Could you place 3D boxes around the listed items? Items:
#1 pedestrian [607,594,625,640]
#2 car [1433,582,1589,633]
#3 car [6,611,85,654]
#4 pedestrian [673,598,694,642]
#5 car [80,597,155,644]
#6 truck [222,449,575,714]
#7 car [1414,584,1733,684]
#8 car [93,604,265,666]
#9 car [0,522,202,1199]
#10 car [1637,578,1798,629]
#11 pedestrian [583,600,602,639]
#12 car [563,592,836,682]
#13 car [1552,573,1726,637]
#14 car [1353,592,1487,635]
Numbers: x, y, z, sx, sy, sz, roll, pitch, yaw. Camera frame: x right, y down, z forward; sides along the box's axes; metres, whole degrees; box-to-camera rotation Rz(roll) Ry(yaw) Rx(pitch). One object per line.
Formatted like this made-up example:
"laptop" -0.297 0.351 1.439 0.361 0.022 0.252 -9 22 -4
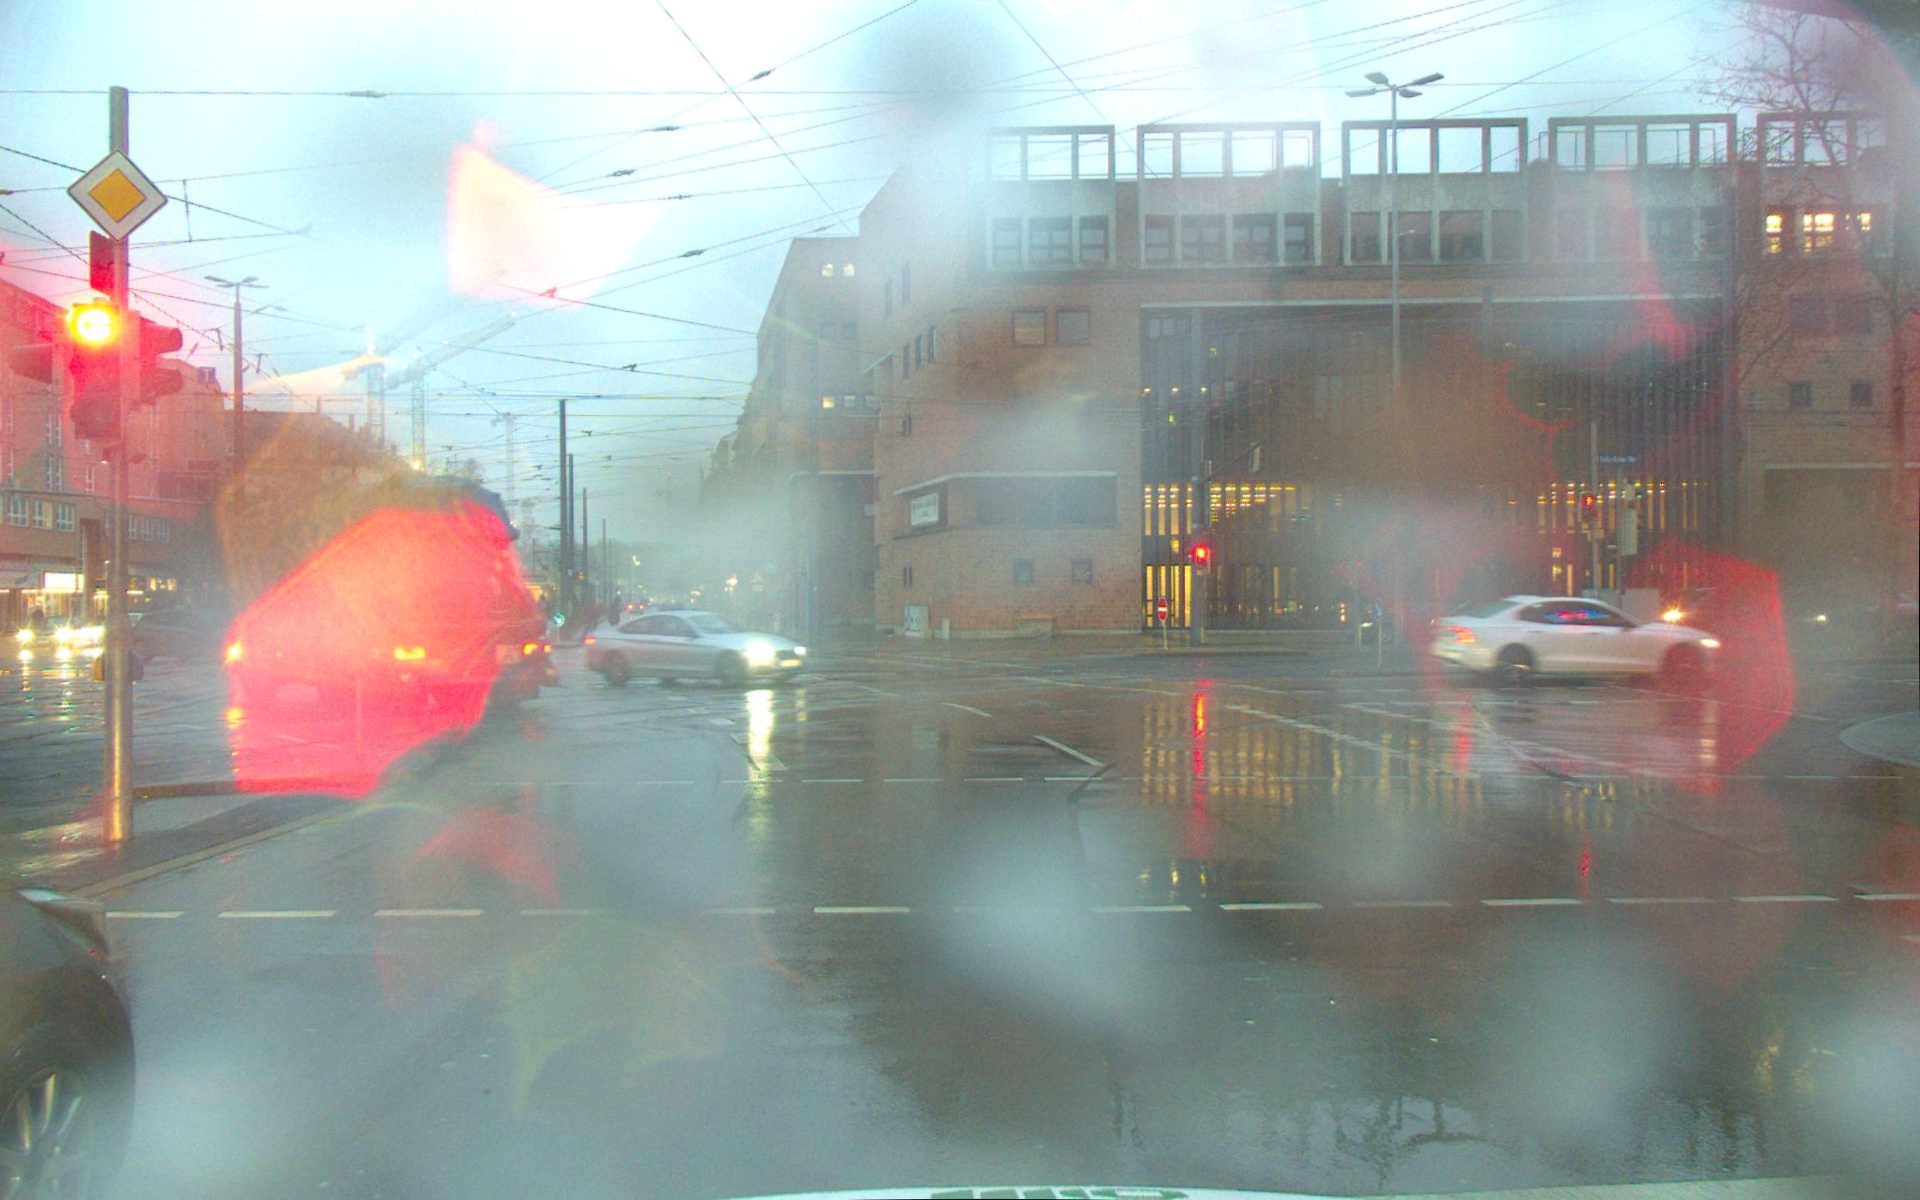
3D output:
"pedestrian" -13.290 0.664 63.898 0.654 1.755 0.487 -1 0 -11
"car" 15.977 0.208 48.059 3.910 1.284 1.846 -1 4 -7
"car" -38.589 1.334 69.883 1.960 1.700 3.984 -1 0 -15
"pedestrian" -11.023 0.787 65.935 0.828 1.717 0.648 -1 0 -11
"car" -35.431 0.830 69.646 1.960 1.893 3.984 -1 0 -15
"truck" -9.317 -0.259 26.841 2.824 3.697 7.413 -1 0 -41
"car" 10.434 0.566 28.412 4.717 1.588 2.051 -1 0 2
"car" -21.759 0.987 46.172 3.905 1.466 1.714 3 -1 1
"car" -2.595 0.626 1.942 1.596 1.550 3.941 -1 -1 0
"car" 22.348 0.092 48.864 3.910 1.310 1.846 -1 4 -7
"pedestrian" -14.646 0.773 65.904 0.687 1.510 0.574 -1 0 -11
"car" -5.091 0.694 32.283 4.890 1.635 2.251 -1 0 27
"car" 18.230 0.106 44.508 3.910 1.530 1.846 -1 4 -7
"car" 15.538 0.450 55.966 3.909 1.333 1.998 -1 0 -5
